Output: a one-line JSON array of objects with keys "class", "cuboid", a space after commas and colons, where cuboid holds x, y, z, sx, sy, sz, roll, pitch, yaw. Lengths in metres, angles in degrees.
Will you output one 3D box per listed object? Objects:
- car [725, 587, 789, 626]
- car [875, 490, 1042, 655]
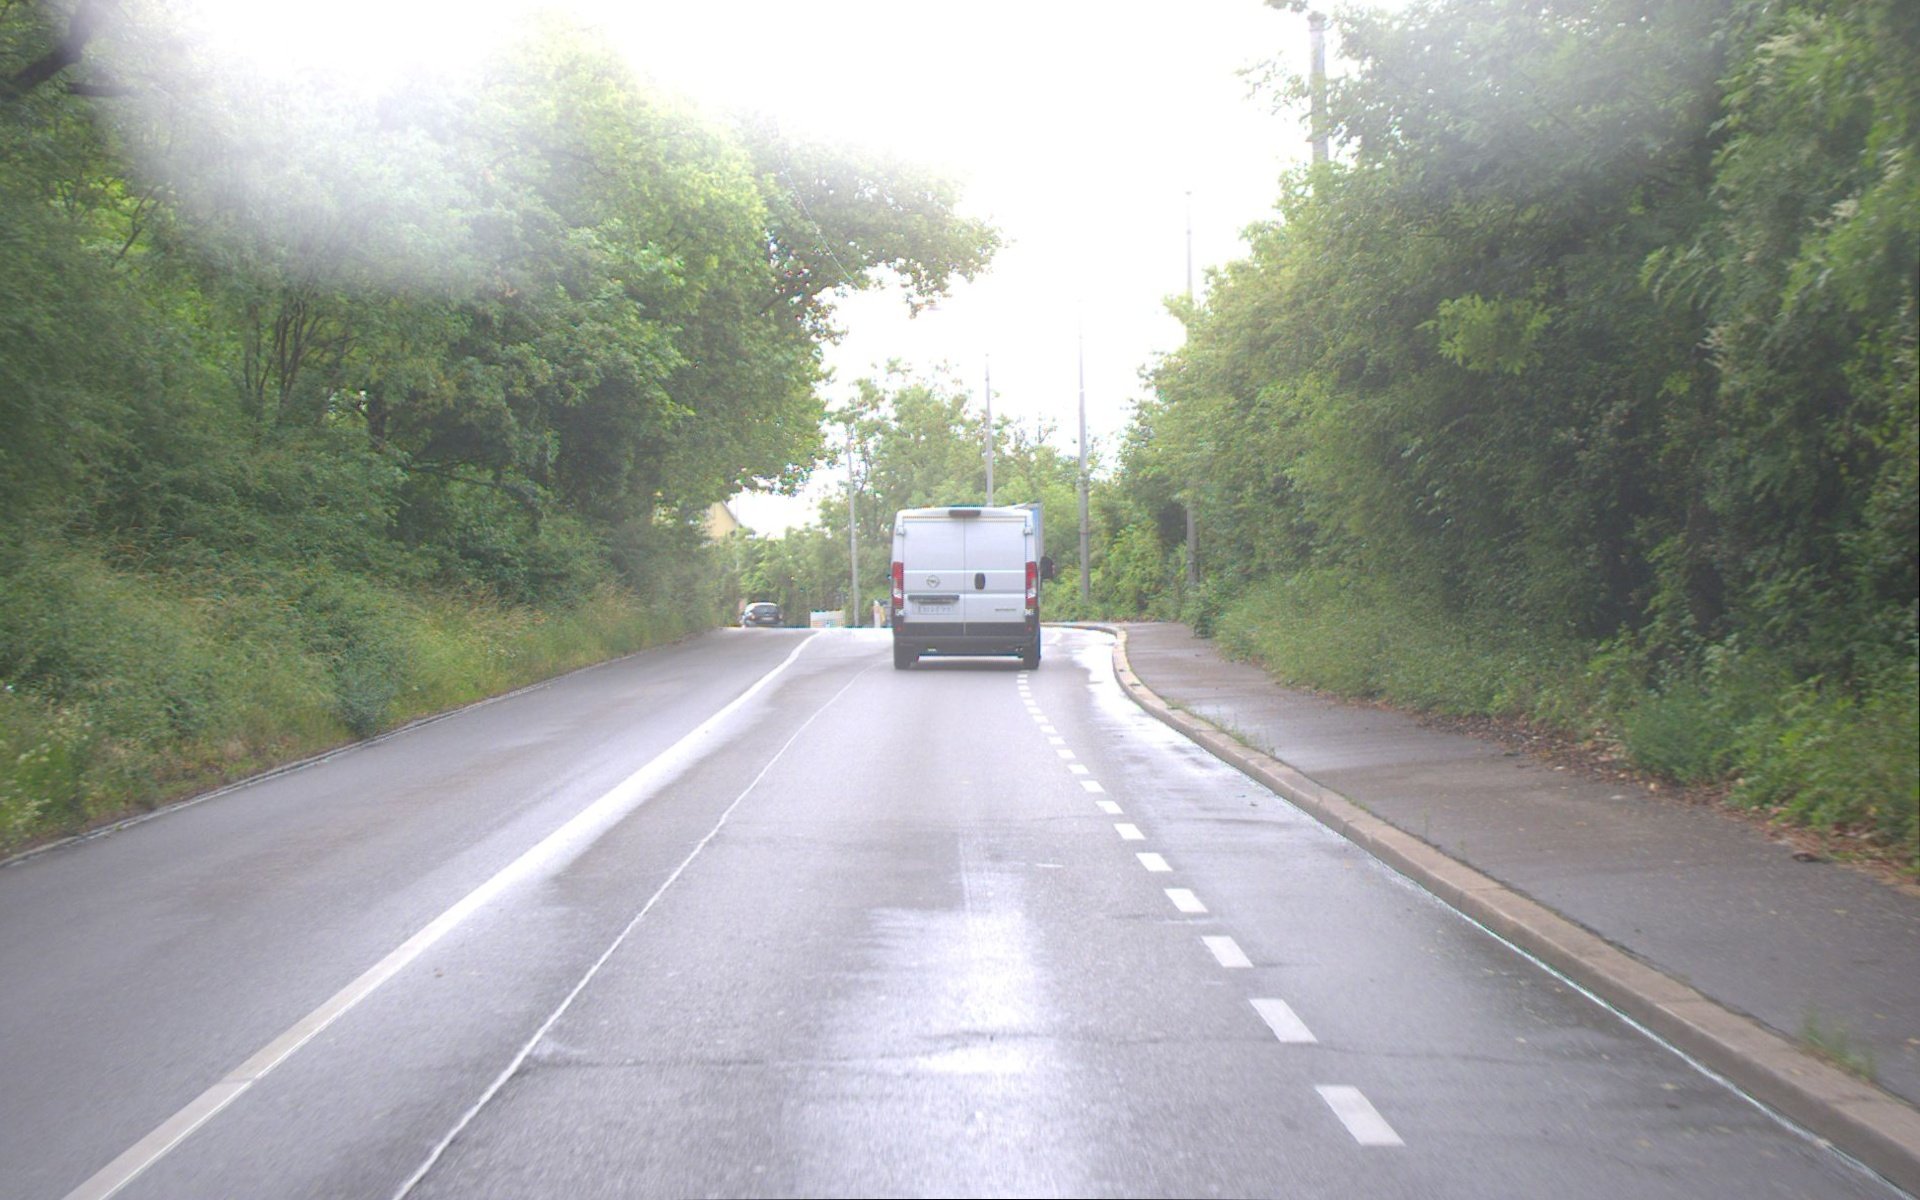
[{"class": "car", "cuboid": [-9.232, 0.287, 156.062, 2.110, 1.706, 4.715, 1, 1, -13]}, {"class": "car", "cuboid": [-0.049, -0.394, 49.136, 2.237, 2.206, 4.713, 1, 1, -1]}]
